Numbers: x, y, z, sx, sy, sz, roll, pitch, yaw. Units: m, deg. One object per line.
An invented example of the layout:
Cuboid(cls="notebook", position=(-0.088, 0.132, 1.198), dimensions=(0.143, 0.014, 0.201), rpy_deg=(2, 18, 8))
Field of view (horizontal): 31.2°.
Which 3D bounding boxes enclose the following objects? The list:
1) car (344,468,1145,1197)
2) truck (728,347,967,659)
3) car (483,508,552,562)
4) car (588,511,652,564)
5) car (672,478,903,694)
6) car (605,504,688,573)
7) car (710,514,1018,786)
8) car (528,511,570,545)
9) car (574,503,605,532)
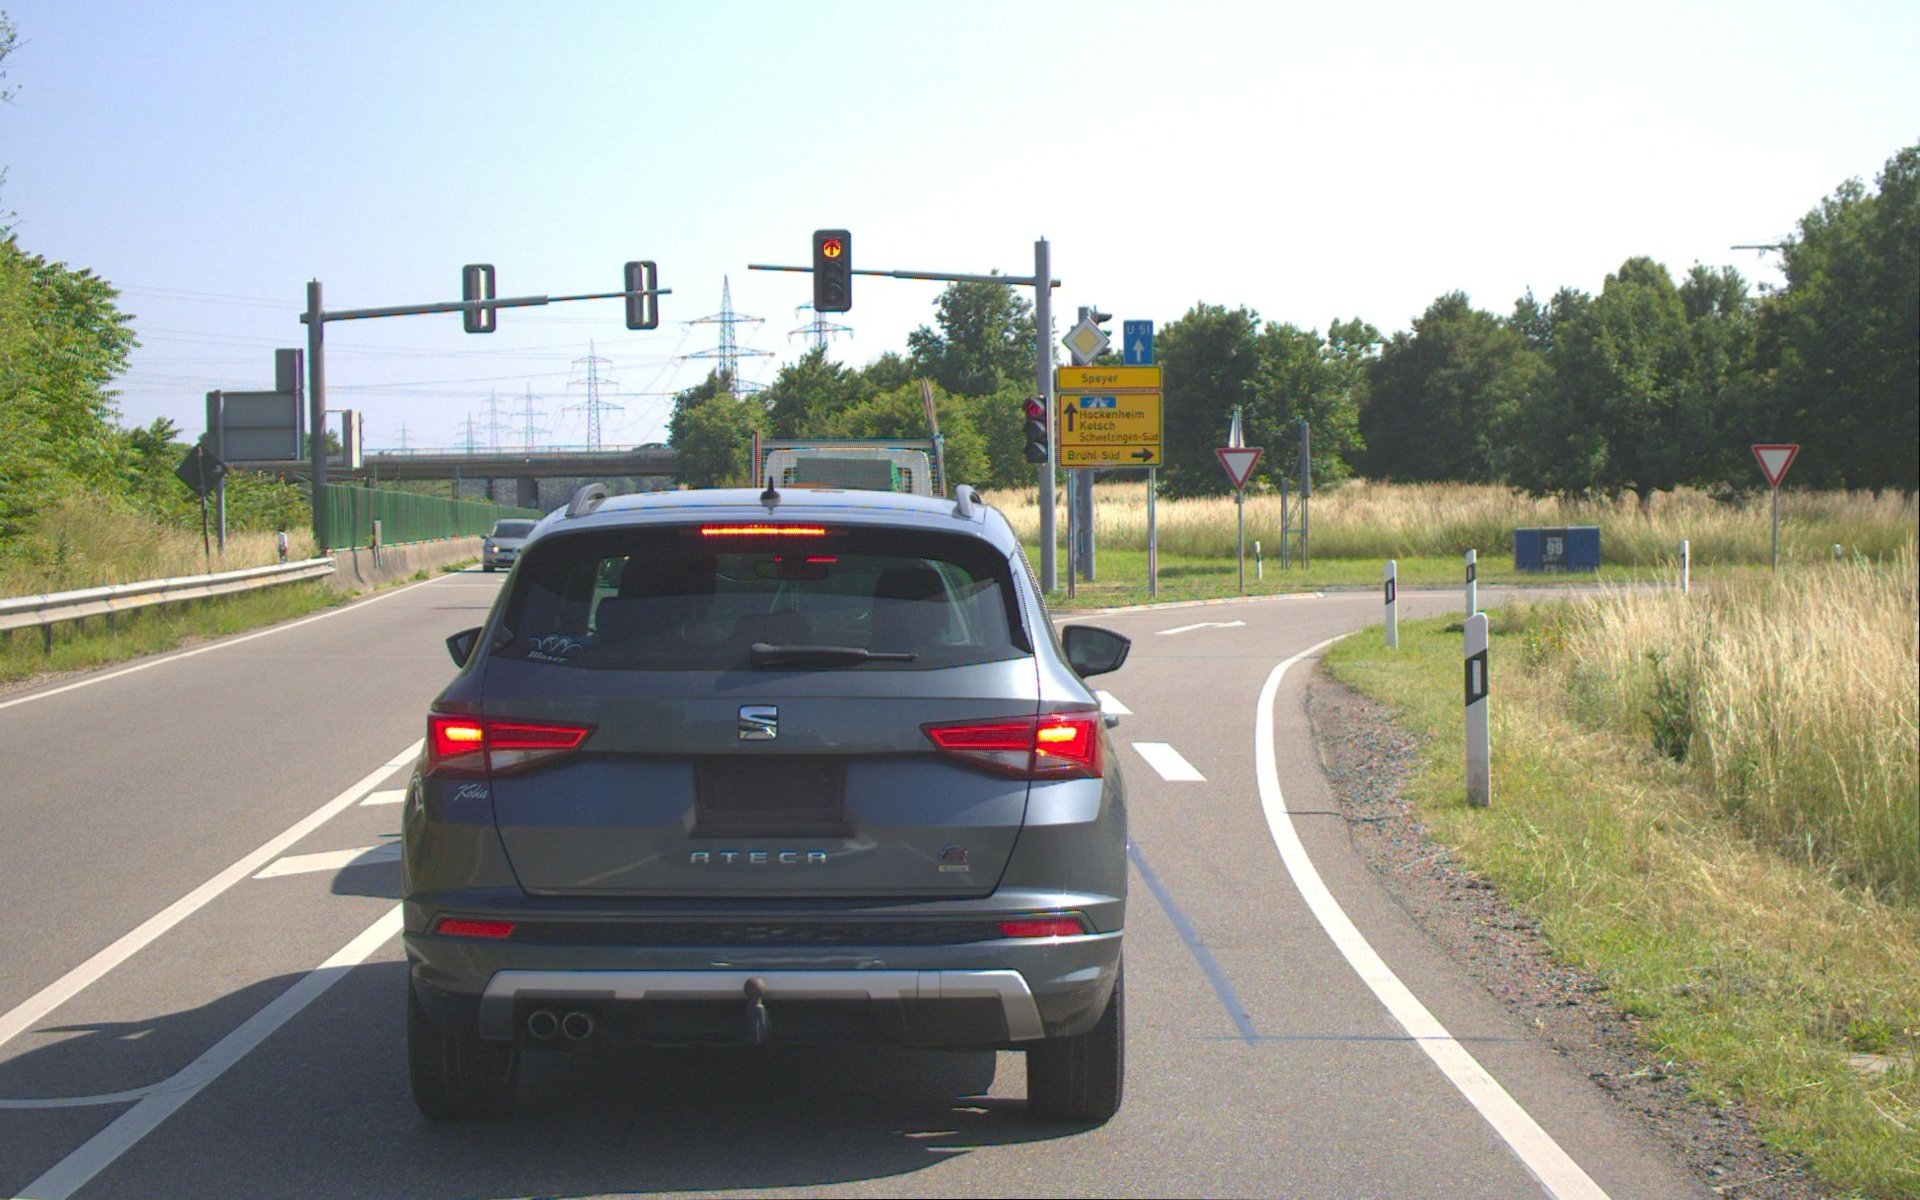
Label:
Cuboid(cls="car", position=(-0.583, 0.459, 9.765), dimensions=(1.785, 1.623, 4.001), rpy_deg=(-1, 2, -3))
Cuboid(cls="truck", position=(-1.194, -0.998, 36.564), dimensions=(2.337, 3.055, 5.810), rpy_deg=(0, 1, -2))
Cuboid(cls="car", position=(-12.236, -1.820, 95.286), dimensions=(1.824, 1.426, 4.001), rpy_deg=(-1, 2, -7))
Cuboid(cls="car", position=(-9.195, -1.711, 92.833), dimensions=(1.684, 1.375, 3.534), rpy_deg=(0, 2, -6))
Cuboid(cls="car", position=(-1.454, -0.177, 28.894), dimensions=(1.785, 1.670, 4.001), rpy_deg=(-1, 2, -3))
Cuboid(cls="car", position=(-7.365, -1.460, 80.455), dimensions=(1.816, 1.535, 4.001), rpy_deg=(-1, 2, -6))
Cuboid(cls="car", position=(-0.664, 0.242, 22.103), dimensions=(1.785, 1.538, 4.001), rpy_deg=(-1, 2, -3))
Cuboid(cls="car", position=(-17.827, -3.123, 149.176), dimensions=(1.761, 1.426, 4.001), rpy_deg=(-1, 2, -7))
Cuboid(cls="car", position=(-26.196, -5.842, 242.710), dimensions=(1.963, 1.945, 4.999), rpy_deg=(-1, 2, -8))
